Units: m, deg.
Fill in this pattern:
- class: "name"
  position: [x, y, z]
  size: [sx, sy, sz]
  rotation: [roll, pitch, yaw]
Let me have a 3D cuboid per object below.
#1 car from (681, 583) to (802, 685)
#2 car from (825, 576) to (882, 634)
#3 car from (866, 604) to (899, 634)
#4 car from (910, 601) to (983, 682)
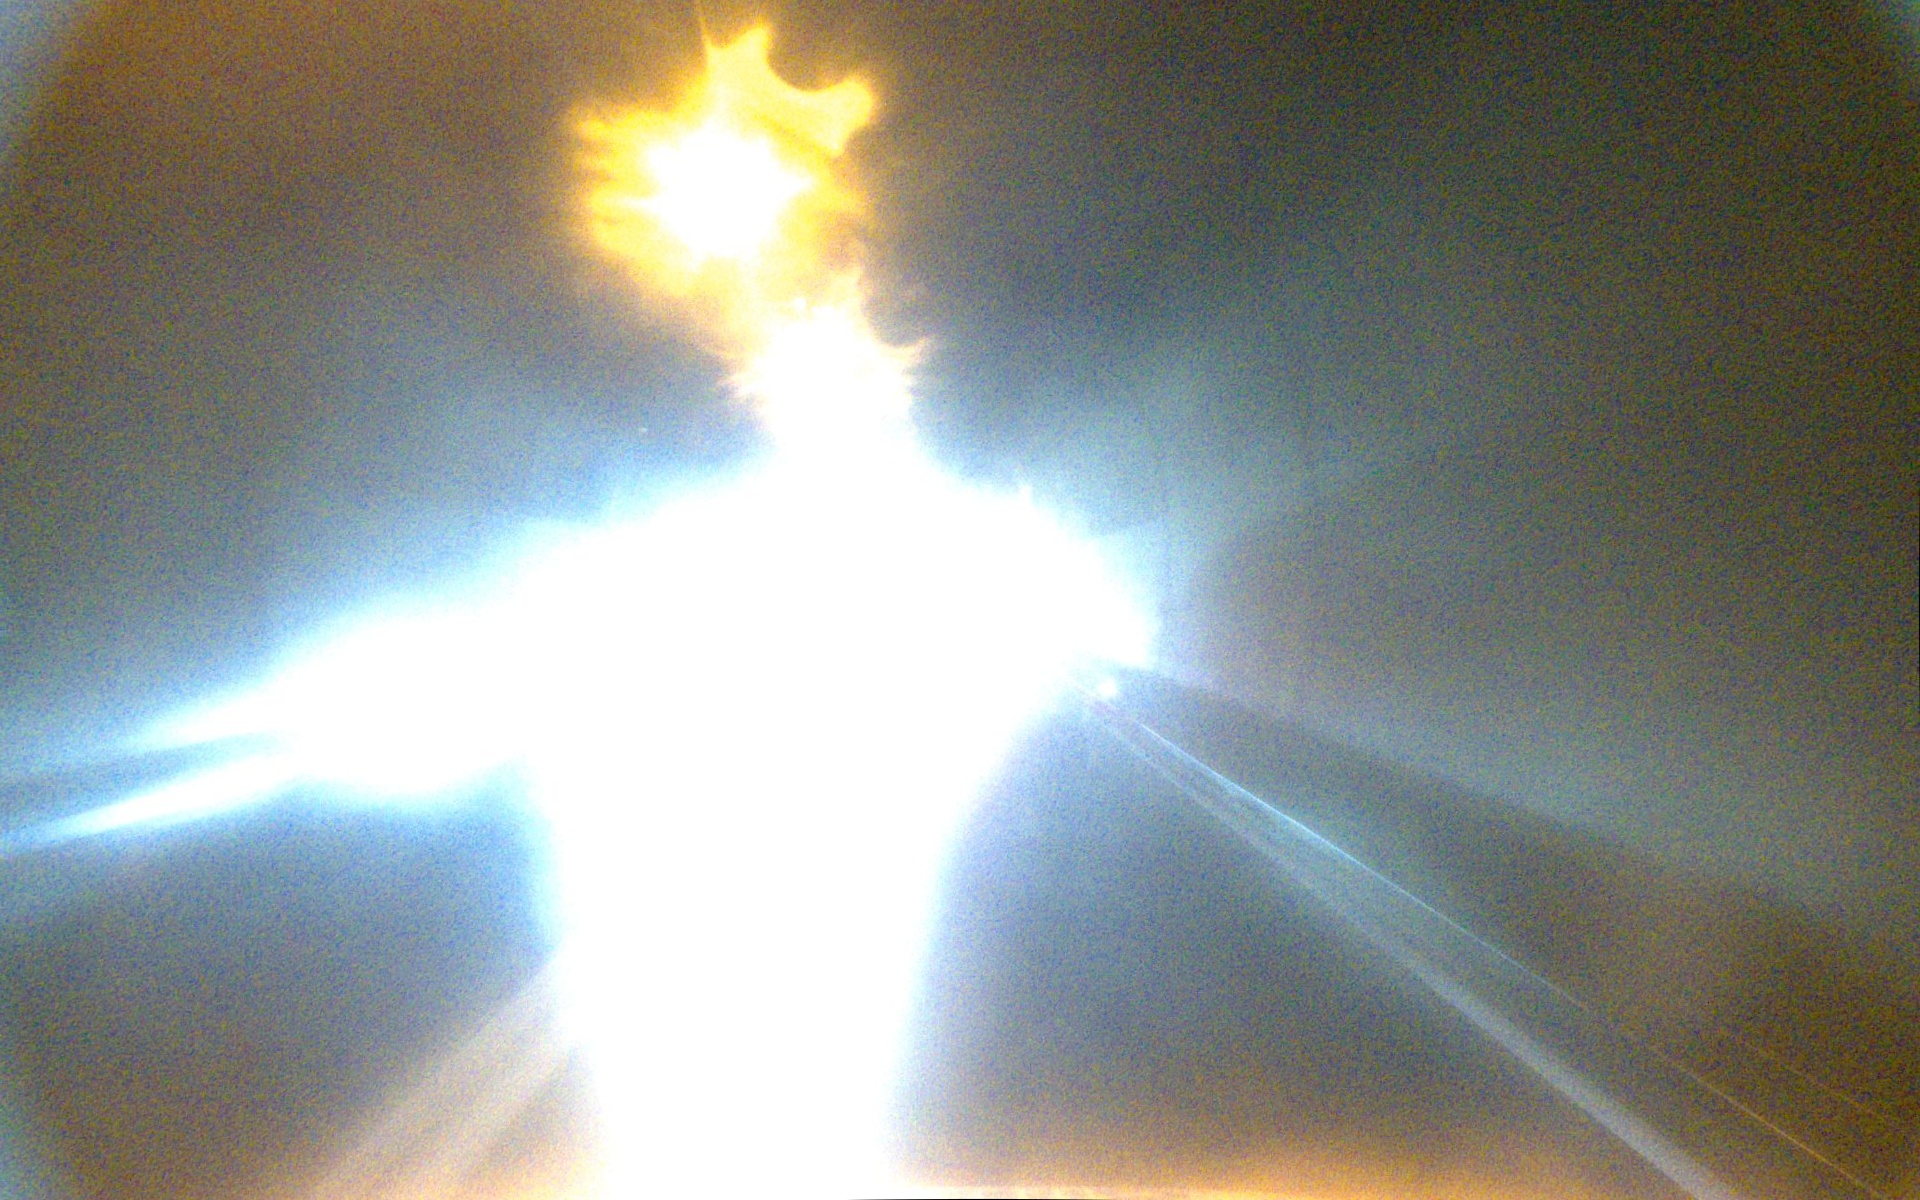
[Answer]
- class: "car"
  position: [-3.778, 0.562, 29.153]
  size: [1.602, 1.656, 4.145]
  rotation: [1, 0, -1]
- class: "car"
  position: [-3.728, 0.171, 58.649]
  size: [1.745, 1.962, 5.137]
  rotation: [1, 0, -1]
- class: "car"
  position: [-4.565, 1.116, 97.775]
  size: [1.745, 1.705, 4.560]
  rotation: [1, 0, -1]
- class: "car"
  position: [-0.323, 0.922, 38.835]
  size: [1.602, 1.788, 4.145]
  rotation: [1, 0, -1]
